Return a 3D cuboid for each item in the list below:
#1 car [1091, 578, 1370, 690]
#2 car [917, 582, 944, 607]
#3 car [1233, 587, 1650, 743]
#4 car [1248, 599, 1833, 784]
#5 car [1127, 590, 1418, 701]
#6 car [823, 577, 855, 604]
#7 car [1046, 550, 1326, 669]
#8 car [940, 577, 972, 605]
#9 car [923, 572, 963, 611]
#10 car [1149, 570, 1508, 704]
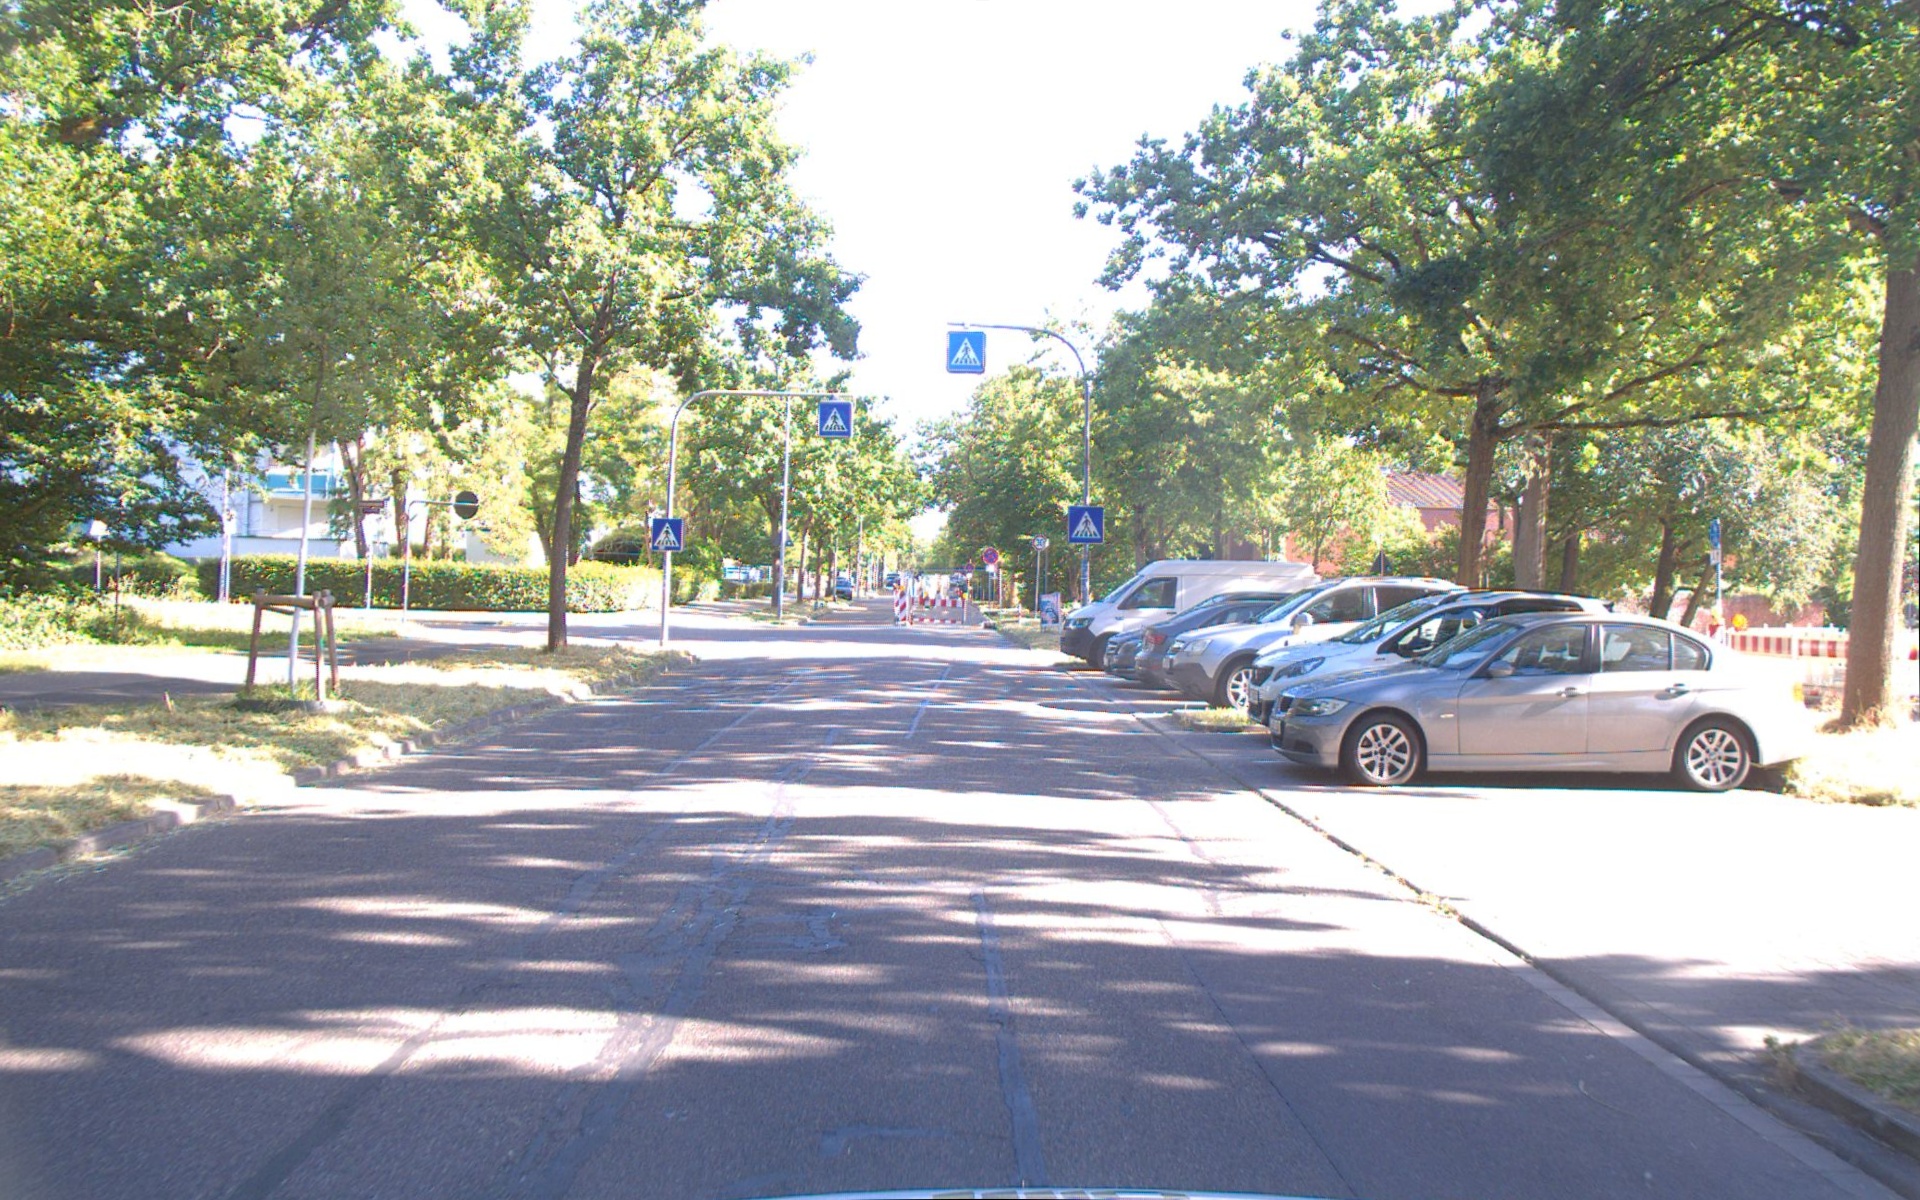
[{"bbox_3d":[4.339,0.532,26.942,4.129,1.596,1.932,2,0,-3],"label":"car"},{"bbox_3d":[-2.216,-0.434,124.525,1.953,1.746,3.999,2,0,-2],"label":"car"},{"bbox_3d":[4.891,0.633,17.166,3.806,1.523,1.776,0,0,-2],"label":"car"},{"bbox_3d":[4.840,0.741,14.245,4.355,1.414,1.911,1,0,-1],"label":"car"},{"bbox_3d":[4.520,0.641,24.379,3.905,1.458,1.901,2,0,0],"label":"car"},{"bbox_3d":[-8.380,-0.647,114.769,1.953,1.746,3.999,2,0,-2],"label":"car"},{"bbox_3d":[4.314,0.179,32.147,5.083,2.142,2.081,1,0,-3],"label":"car"},{"bbox_3d":[-0.299,-0.597,108.816,1.953,1.746,3.999,2,0,-2],"label":"car"},{"bbox_3d":[-0.925,-0.454,87.853,1.953,1.966,3.999,2,0,-2],"label":"car"},{"bbox_3d":[4.774,0.454,21.799,4.297,1.680,1.850,0,0,-3],"label":"car"}]
